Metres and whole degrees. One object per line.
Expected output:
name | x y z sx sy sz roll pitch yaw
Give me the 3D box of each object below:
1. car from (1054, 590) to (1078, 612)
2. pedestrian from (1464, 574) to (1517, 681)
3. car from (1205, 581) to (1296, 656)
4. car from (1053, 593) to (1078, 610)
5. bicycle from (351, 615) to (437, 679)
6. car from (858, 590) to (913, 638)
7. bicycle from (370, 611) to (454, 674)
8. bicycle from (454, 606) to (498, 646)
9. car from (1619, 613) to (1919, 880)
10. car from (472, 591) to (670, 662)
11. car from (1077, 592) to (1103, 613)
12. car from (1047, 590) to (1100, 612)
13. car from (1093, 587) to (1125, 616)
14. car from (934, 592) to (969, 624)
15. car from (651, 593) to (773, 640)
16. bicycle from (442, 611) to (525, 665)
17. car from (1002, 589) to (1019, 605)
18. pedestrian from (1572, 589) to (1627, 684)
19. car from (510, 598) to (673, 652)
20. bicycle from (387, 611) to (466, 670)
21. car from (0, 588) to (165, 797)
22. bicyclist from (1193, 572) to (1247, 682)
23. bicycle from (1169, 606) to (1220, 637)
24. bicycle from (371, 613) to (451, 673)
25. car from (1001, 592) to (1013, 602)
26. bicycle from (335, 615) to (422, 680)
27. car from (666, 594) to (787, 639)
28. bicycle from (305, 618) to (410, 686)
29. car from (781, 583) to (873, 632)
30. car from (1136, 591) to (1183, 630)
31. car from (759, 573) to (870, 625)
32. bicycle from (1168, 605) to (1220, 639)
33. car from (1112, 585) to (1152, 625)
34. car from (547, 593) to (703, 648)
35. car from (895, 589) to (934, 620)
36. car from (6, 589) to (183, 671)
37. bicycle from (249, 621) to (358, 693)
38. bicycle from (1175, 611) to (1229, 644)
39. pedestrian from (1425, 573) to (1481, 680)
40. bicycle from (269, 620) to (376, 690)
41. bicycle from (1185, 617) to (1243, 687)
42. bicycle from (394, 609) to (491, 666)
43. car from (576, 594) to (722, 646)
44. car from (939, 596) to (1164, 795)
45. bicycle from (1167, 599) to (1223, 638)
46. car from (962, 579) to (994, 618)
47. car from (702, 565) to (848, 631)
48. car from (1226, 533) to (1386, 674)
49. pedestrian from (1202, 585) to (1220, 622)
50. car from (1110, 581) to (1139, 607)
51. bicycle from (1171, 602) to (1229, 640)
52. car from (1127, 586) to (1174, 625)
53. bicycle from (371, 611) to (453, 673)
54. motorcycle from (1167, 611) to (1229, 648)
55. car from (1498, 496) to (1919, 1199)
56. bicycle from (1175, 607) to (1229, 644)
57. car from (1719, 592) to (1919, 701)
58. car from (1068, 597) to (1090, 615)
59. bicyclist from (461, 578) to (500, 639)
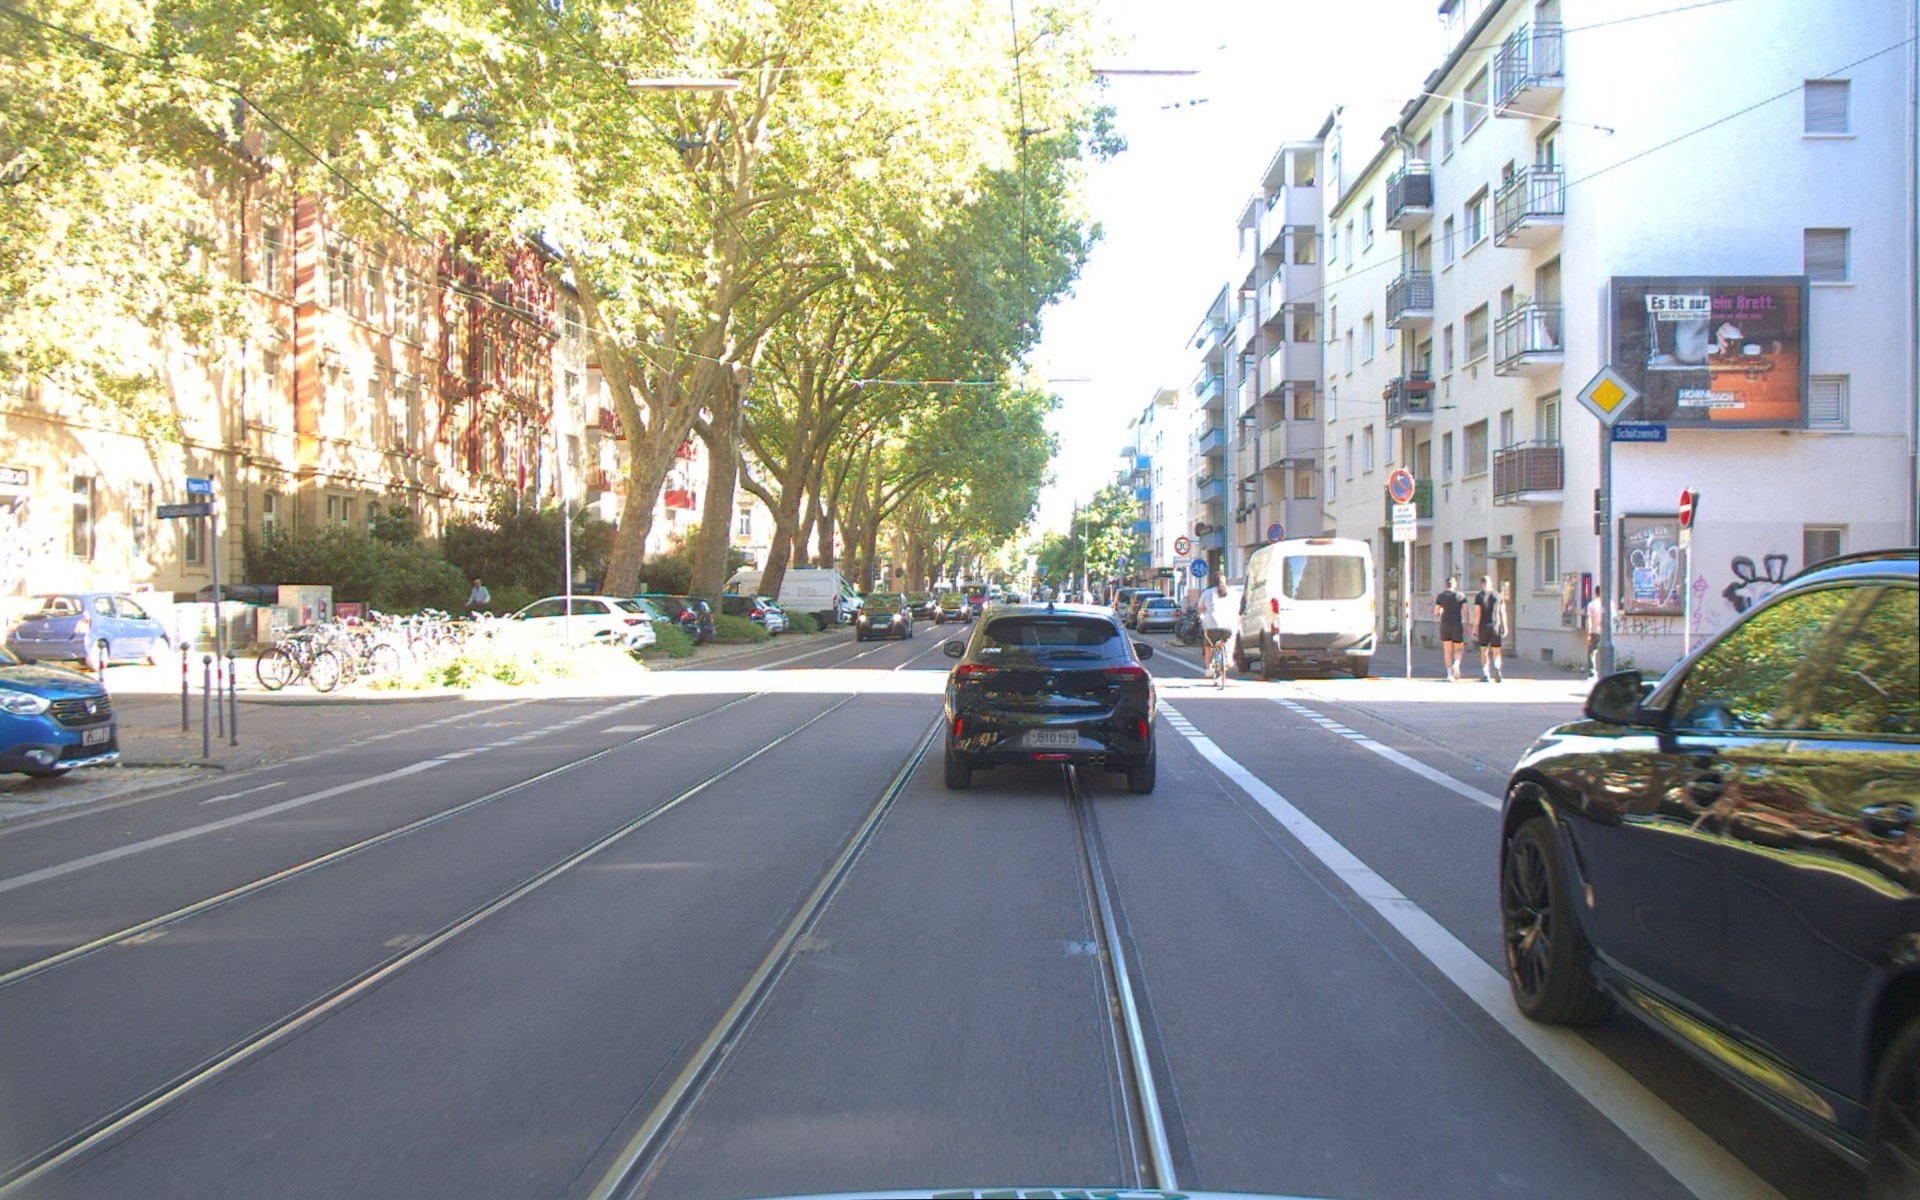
car | 8.267 0.071 128.385 1.819 1.680 4.002 0 0 4
pedestrian | 9.471 0.485 29.566 0.612 1.854 1.082 -1 -1 4
car | 7.528 0.443 43.214 1.819 1.852 4.353 0 0 3
car | 10.034 0.131 157.598 1.953 1.668 3.999 0 0 -2
bicycle | -10.005 0.820 29.233 1.526 1.107 0.396 0 0 21
car | -2.419 0.438 54.425 1.601 1.536 3.692 0 0 1
bicycle | -9.829 0.761 29.646 1.526 1.107 0.396 0 0 21
bicycle | -14.428 0.760 49.384 0.726 1.158 1.781 0 0 2
car | 6.104 0.857 11.489 1.614 1.445 4.062 -2 0 4
car | -8.544 0.597 36.549 3.904 1.486 1.879 -1 -1 1
car | 10.397 0.179 132.817 1.683 1.601 4.083 0 0 -2
car | 8.402 0.068 122.838 3.904 1.680 1.865 0 0 2
car | 9.057 0.088 100.585 1.819 1.680 4.002 0 0 4
car | -0.385 0.362 81.693 1.682 1.536 3.723 0 0 1
car | -8.224 0.525 55.032 3.714 1.486 1.705 1 0 3
bicycle | -9.809 0.773 34.049 1.767 1.061 0.596 0 0 30
car | 5.454 -0.303 178.467 1.713 1.680 4.002 0 0 4
pedestrian | 11.186 0.635 28.956 0.618 1.608 0.933 2 -1 4
car | -9.679 0.653 43.575 3.903 1.393 1.606 0 0 4
bicycle | -10.210 0.772 31.625 1.526 1.107 0.396 0 0 21
car | -9.584 0.771 14.608 4.231 1.742 1.816 0 0 -1
bicyclist | 4.332 0.443 27.598 0.770 1.790 0.915 0 0 2
bicycle | 7.827 0.719 55.171 1.618 0.983 0.457 -2 0 2
bicycle | -10.345 0.797 31.147 1.526 1.107 0.396 0 0 21
car | 6.828 -0.469 238.221 1.645 1.447 3.628 1 0 2
bicycle | -10.129 0.816 28.786 1.526 1.107 0.396 0 0 21
car | -8.141 0.560 57.884 3.903 1.522 1.831 0 0 3
bicycle | -10.018 0.858 27.496 1.818 1.107 0.396 0 0 21
car | -7.259 0.397 90.614 4.843 2.612 2.082 0 0 -1
car | 8.170 0.406 68.088 1.688 1.552 4.515 0 0 4
car | -7.158 -0.050 81.839 5.248 2.521 2.058 0 0 2
bicycle | 7.733 0.729 54.627 1.618 1.038 0.457 -2 0 2
car | 8.642 0.230 83.483 1.819 1.923 4.927 0 0 4
car | -9.235 0.566 45.796 3.903 1.486 1.771 0 0 4
car | -2.636 0.240 97.129 1.952 1.730 4.486 -2 0 2
car | -16.489 0.538 31.689 1.566 1.486 3.489 0 0 -1
bicycle | -10.457 0.895 26.331 1.818 1.107 0.396 0 0 21
bicycle | 7.761 0.885 53.077 1.618 1.004 0.457 -2 0 2
pedestrian | 8.810 0.468 29.606 0.694 1.854 1.082 -1 -1 4
bicycle | -10.313 0.880 26.745 1.818 1.107 0.396 0 0 21
bicycle | 4.232 0.847 27.684 0.686 1.111 1.990 2 0 2
bicycle | -10.292 0.731 32.886 1.879 1.107 0.597 0 0 21
car | -9.107 0.582 48.557 3.903 1.486 1.705 0 0 4
car | 0.743 0.713 14.183 1.645 1.447 3.628 1 0 2
bicycle | 7.905 0.621 55.660 1.785 1.212 0.457 -2 0 2
car | 1.075 -0.104 100.029 1.878 2.266 4.960 0 0 1
car | -7.475 -0.092 67.208 5.621 2.580 2.163 1 0 2
car | 6.730 0.056 32.893 2.104 2.539 6.090 0 0 2
pedestrian | 11.913 0.172 78.570 0.740 1.750 0.720 0 0 1
car | 10.742 -0.411 108.171 1.819 1.680 4.002 0 0 4
bicycle | 7.822 0.679 53.935 1.756 1.168 0.705 -2 0 2
car | 8.576 0.237 74.732 1.730 1.734 4.284 0 0 1
bicycle | -10.019 0.755 30.234 1.526 1.107 0.396 0 0 21
motorcycle | 7.360 0.917 51.255 1.782 1.099 0.617 -1 0 26
car | 3.012 0.649 4.399 1.903 1.734 4.632 0 0 3
bicycle | 7.633 0.800 52.128 1.618 1.073 0.457 -2 0 2
car | 13.746 0.684 25.248 3.572 1.601 1.791 0 0 8
car | 9.965 0.491 138.900 1.683 1.516 3.682 0 0 1
bicyclist | -14.368 0.247 49.562 0.813 1.794 1.048 0 0 2
